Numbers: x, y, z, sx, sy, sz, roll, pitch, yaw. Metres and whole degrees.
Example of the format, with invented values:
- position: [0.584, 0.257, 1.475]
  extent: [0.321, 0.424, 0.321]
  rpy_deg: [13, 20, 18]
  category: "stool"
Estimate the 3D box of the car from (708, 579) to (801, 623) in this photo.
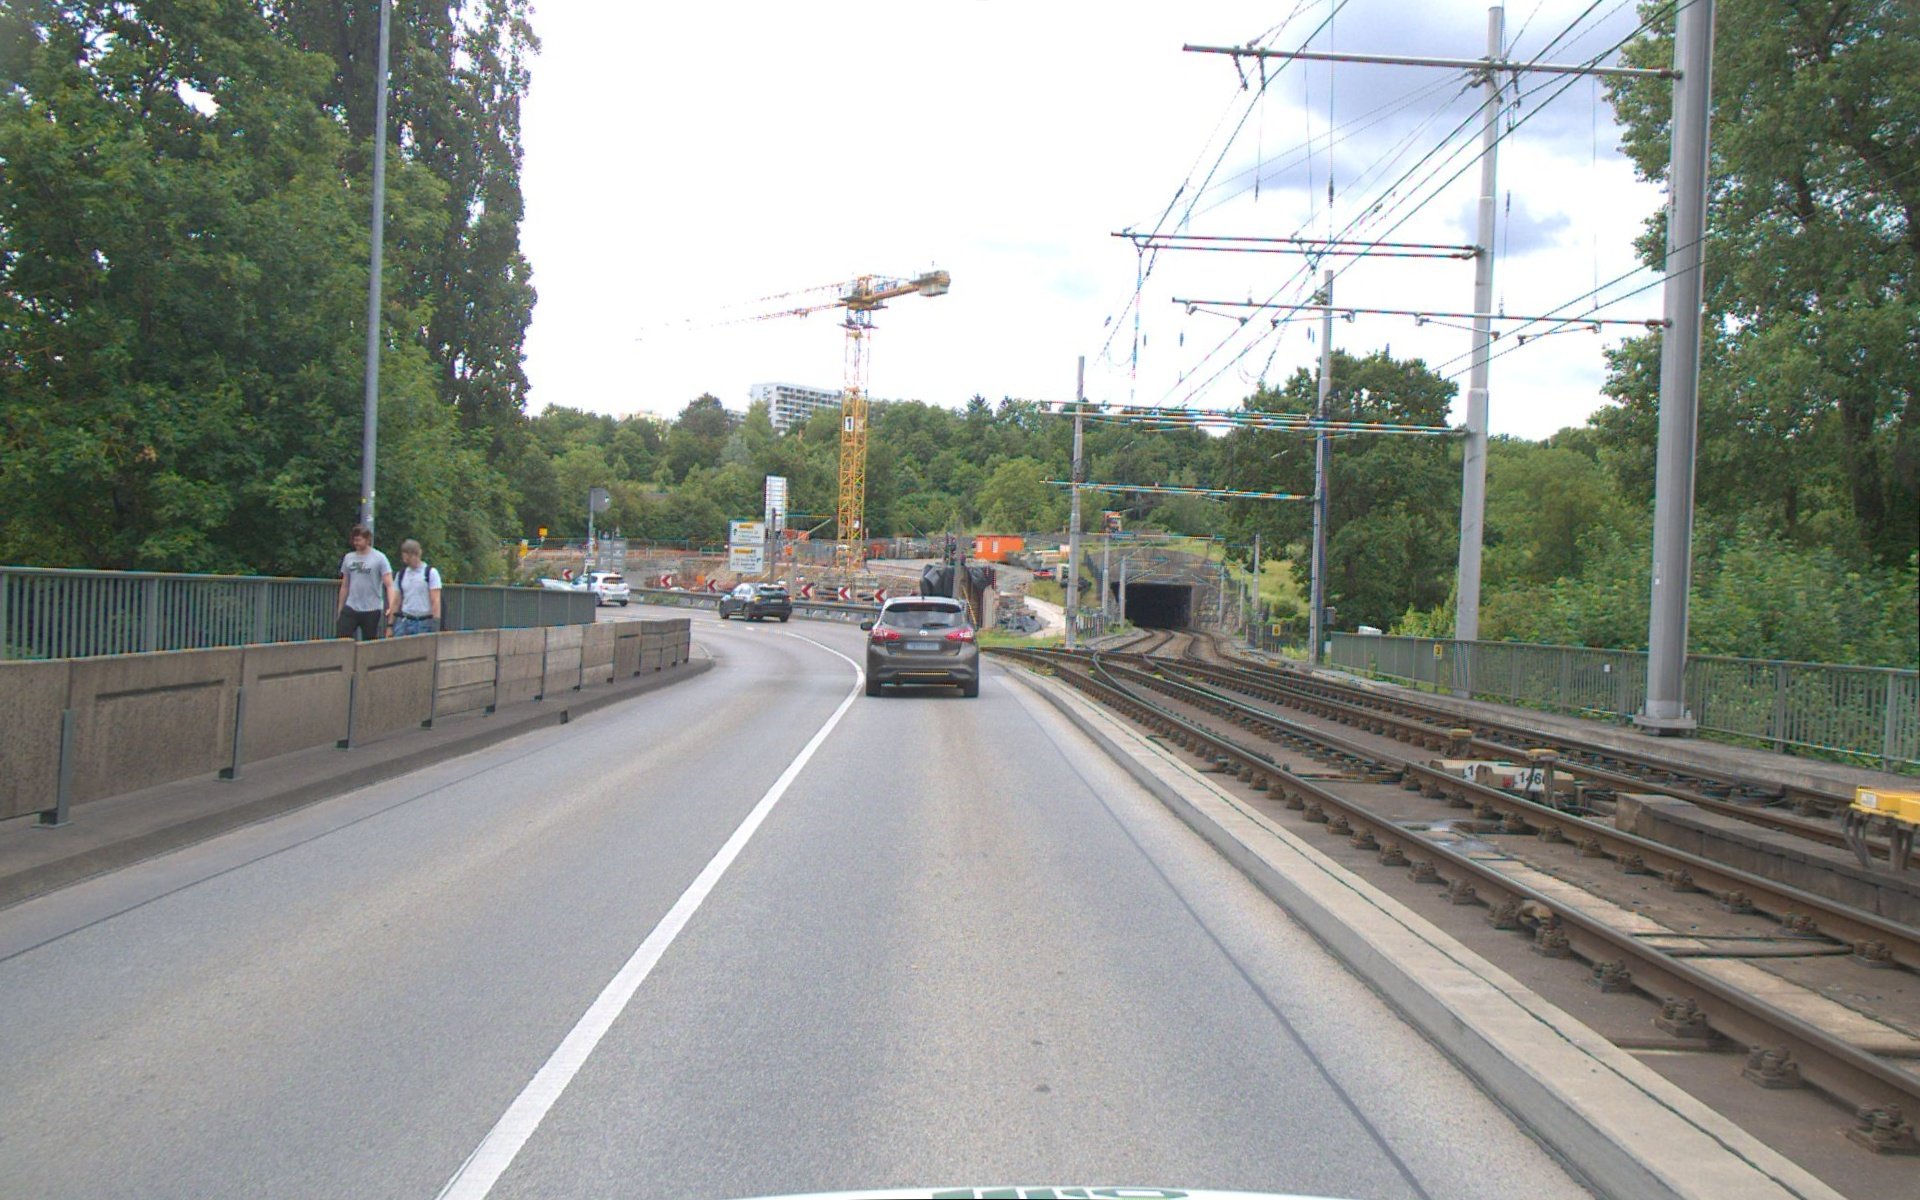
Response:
- position: [-8.208, 0.012, 65.879]
  extent: [1.669, 1.634, 4.248]
  rpy_deg: [1, 1, -39]
  category: "car"

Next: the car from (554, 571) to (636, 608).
- position: [-17.237, -0.506, 78.016]
  extent: [4.233, 1.634, 1.675]
  rpy_deg: [2, 1, 42]
  category: "car"

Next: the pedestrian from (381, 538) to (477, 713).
- position: [-5.429, 0.258, 16.946]
  extent: [0.706, 1.731, 0.723]
  rpy_deg: [2, 0, -1]
  category: "pedestrian"

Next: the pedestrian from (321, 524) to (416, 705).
- position: [-6.300, 0.151, 17.643]
  extent: [0.706, 1.872, 0.723]
  rpy_deg: [2, 0, -1]
  category: "pedestrian"

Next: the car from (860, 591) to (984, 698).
- position: [-0.608, 0.661, 26.471]
  extent: [1.793, 1.536, 3.999]
  rpy_deg: [1, 0, -1]
  category: "car"
